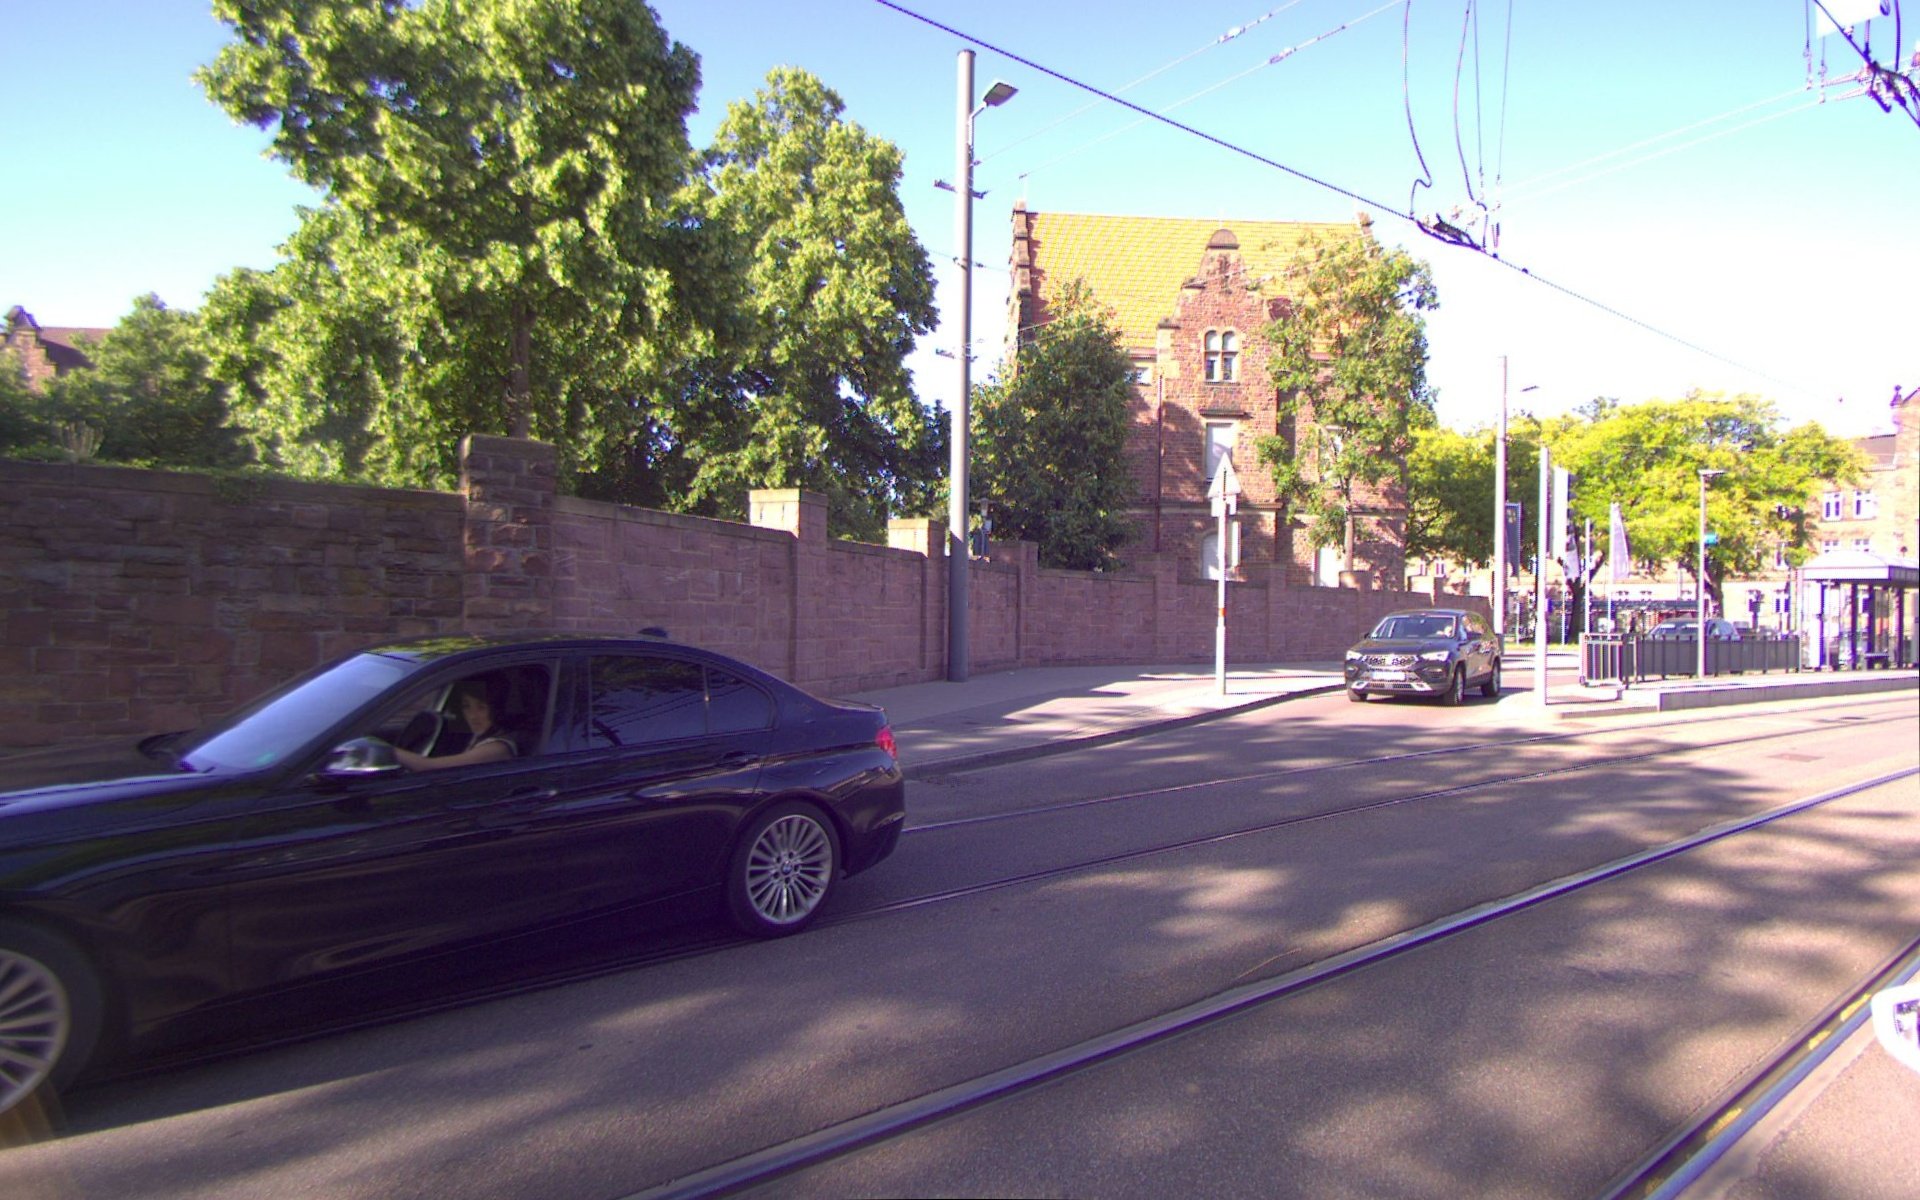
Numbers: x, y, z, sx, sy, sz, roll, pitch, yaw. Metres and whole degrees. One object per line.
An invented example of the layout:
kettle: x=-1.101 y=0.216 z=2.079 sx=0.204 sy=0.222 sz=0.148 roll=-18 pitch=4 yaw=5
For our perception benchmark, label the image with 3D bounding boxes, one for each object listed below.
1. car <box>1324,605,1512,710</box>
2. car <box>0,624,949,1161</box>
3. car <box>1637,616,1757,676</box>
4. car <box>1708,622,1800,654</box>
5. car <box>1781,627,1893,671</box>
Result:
car: x=8.250 y=0.951 z=17.897 sx=1.900 sy=1.638 sz=4.095 roll=0 pitch=-1 yaw=42
car: x=-2.155 y=0.852 z=4.475 sx=1.717 sy=1.441 sz=4.233 roll=1 pitch=-1 yaw=45
car: x=21.933 y=1.320 z=29.834 sx=4.080 sy=1.659 sz=1.783 roll=1 pitch=-1 yaw=-37
car: x=46.577 y=2.212 z=58.979 sx=1.730 sy=1.682 sz=3.840 roll=2 pitch=0 yaw=-30
car: x=31.280 y=1.706 z=35.787 sx=4.575 sy=1.434 sz=1.872 roll=1 pitch=-1 yaw=-33
